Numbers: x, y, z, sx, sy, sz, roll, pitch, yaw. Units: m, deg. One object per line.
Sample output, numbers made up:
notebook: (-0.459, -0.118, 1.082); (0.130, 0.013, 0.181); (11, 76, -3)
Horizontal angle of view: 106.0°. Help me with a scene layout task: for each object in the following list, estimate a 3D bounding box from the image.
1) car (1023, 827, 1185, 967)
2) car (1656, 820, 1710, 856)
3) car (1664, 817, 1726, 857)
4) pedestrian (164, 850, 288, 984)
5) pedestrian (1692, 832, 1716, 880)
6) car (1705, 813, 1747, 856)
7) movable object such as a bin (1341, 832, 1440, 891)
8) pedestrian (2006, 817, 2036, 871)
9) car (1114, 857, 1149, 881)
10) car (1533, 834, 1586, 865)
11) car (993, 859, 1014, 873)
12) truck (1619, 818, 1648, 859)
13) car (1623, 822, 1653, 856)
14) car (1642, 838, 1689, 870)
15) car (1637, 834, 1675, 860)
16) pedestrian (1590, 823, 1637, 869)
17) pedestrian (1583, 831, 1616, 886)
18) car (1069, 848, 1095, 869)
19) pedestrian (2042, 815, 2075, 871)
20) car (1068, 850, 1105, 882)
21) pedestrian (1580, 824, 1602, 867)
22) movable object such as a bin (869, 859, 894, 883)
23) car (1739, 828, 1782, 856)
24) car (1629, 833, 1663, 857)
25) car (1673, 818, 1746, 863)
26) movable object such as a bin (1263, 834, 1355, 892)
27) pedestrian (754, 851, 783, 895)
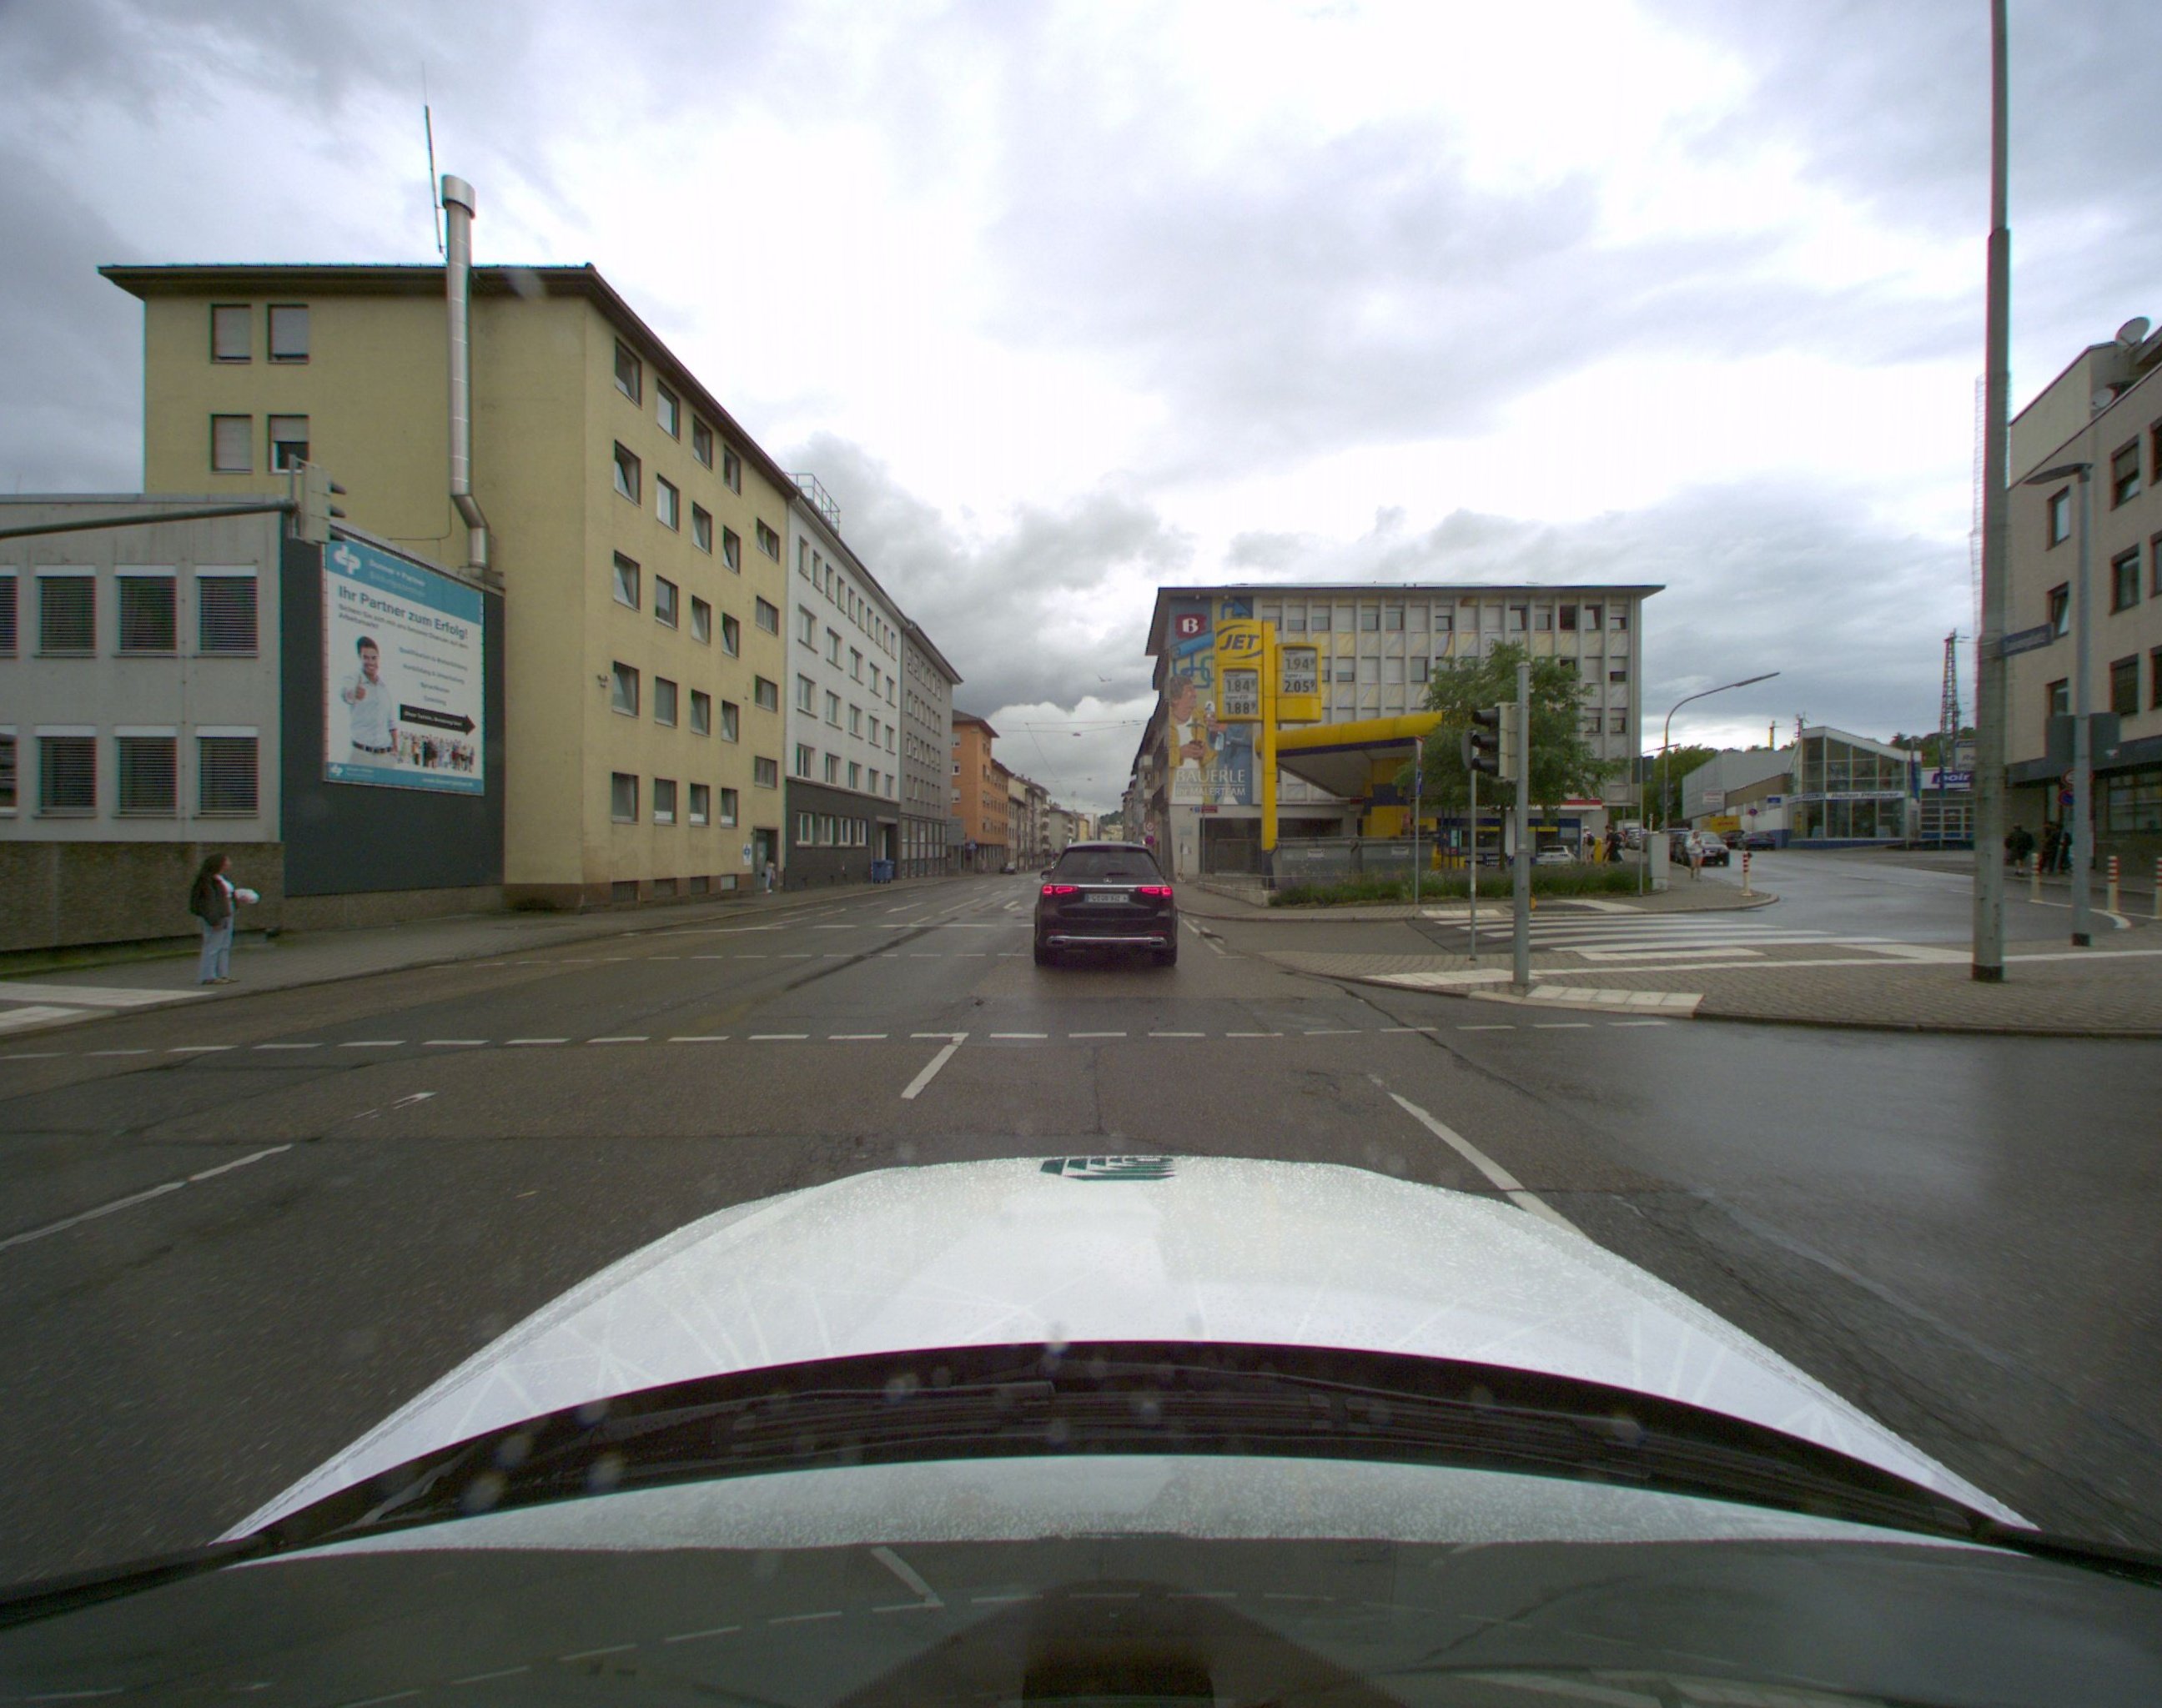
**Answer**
car: (0.358, 0.565, 12.964); (2.069, 1.765, 4.612); (2, 0, 1)
car: (34.700, -0.880, 47.065); (1.975, 1.865, 4.608); (2, 0, 30)
car: (31.588, -0.856, 42.033); (1.975, 1.865, 4.608); (2, 0, 30)
pedestrian: (-11.352, 0.803, 10.842); (0.714, 1.689, 0.812); (2, -1, 3)
pedestrian: (19.992, 0.049, 26.140); (0.577, 1.515, 0.474); (2, -1, -39)
car: (59.030, -1.718, 74.624); (2.354, 3.688, 5.025); (2, 0, 31)
movable object such as a bin: (8.693, 0.220, 23.027); (2.147, 1.555, 1.774); (-1, 0, 2)
pedestrian: (30.761, -0.338, 26.650); (0.473, 1.742, 0.578); (2, -1, 31)
car: (3.296, 0.942, 54.191); (1.888, 1.402, 4.607); (-4, 0, -1)
car: (26.784, -0.202, 45.521); (1.974, 1.516, 4.446); (-2, -3, 38)
car: (-8.840, 1.314, 92.954); (1.885, 1.458, 4.548); (2, 0, 0)
truck: (56.250, -1.548, 82.954); (1.975, 3.914, 5.518); (2, 0, 30)
car: (52.312, -1.410, 76.542); (1.975, 2.973, 4.608); (2, 0, 30)
car: (37.325, 0.035, 52.098); (1.975, 1.865, 4.608); (2, 0, 30)
car: (45.053, -0.544, 63.892); (1.975, 1.865, 4.608); (2, 0, 30)
pedestrian: (18.328, -0.260, 28.040); (0.922, 1.523, 1.101); (2, -1, -39)
pedestrian: (25.051, 0.218, 39.362); (0.998, 2.567, 1.153); (2, -1, 16)
car: (0.124, 0.355, 68.954); (2.069, 1.650, 4.296); (2, 0, 1)
pedestrian: (30.982, -0.333, 25.817); (0.473, 1.742, 0.578); (2, -1, 31)
car: (0.355, 0.708, 49.260); (2.069, 1.765, 4.612); (2, 0, 1)
pedestrian: (21.602, -0.359, 34.485); (0.671, 1.758, 0.736); (2, -1, 24)
movable object such as a bin: (-11.465, 0.957, 46.847); (1.072, 1.324, 1.191); (2, 0, 1)
car: (51.856, -0.902, 62.244); (1.974, 2.014, 4.025); (2, 0, 32)
car: (48.298, -0.780, 69.654); (1.975, 1.865, 4.608); (2, 0, 30)
car: (28.438, -0.585, 36.983); (1.975, 1.865, 4.608); (2, 0, 30)
movable object such as a bin: (6.402, 0.260, 23.081); (2.147, 1.574, 1.774); (0, 0, 2)
pedestrian: (-12.403, 0.743, 32.331); (0.714, 1.689, 0.812); (2, -1, 3)
